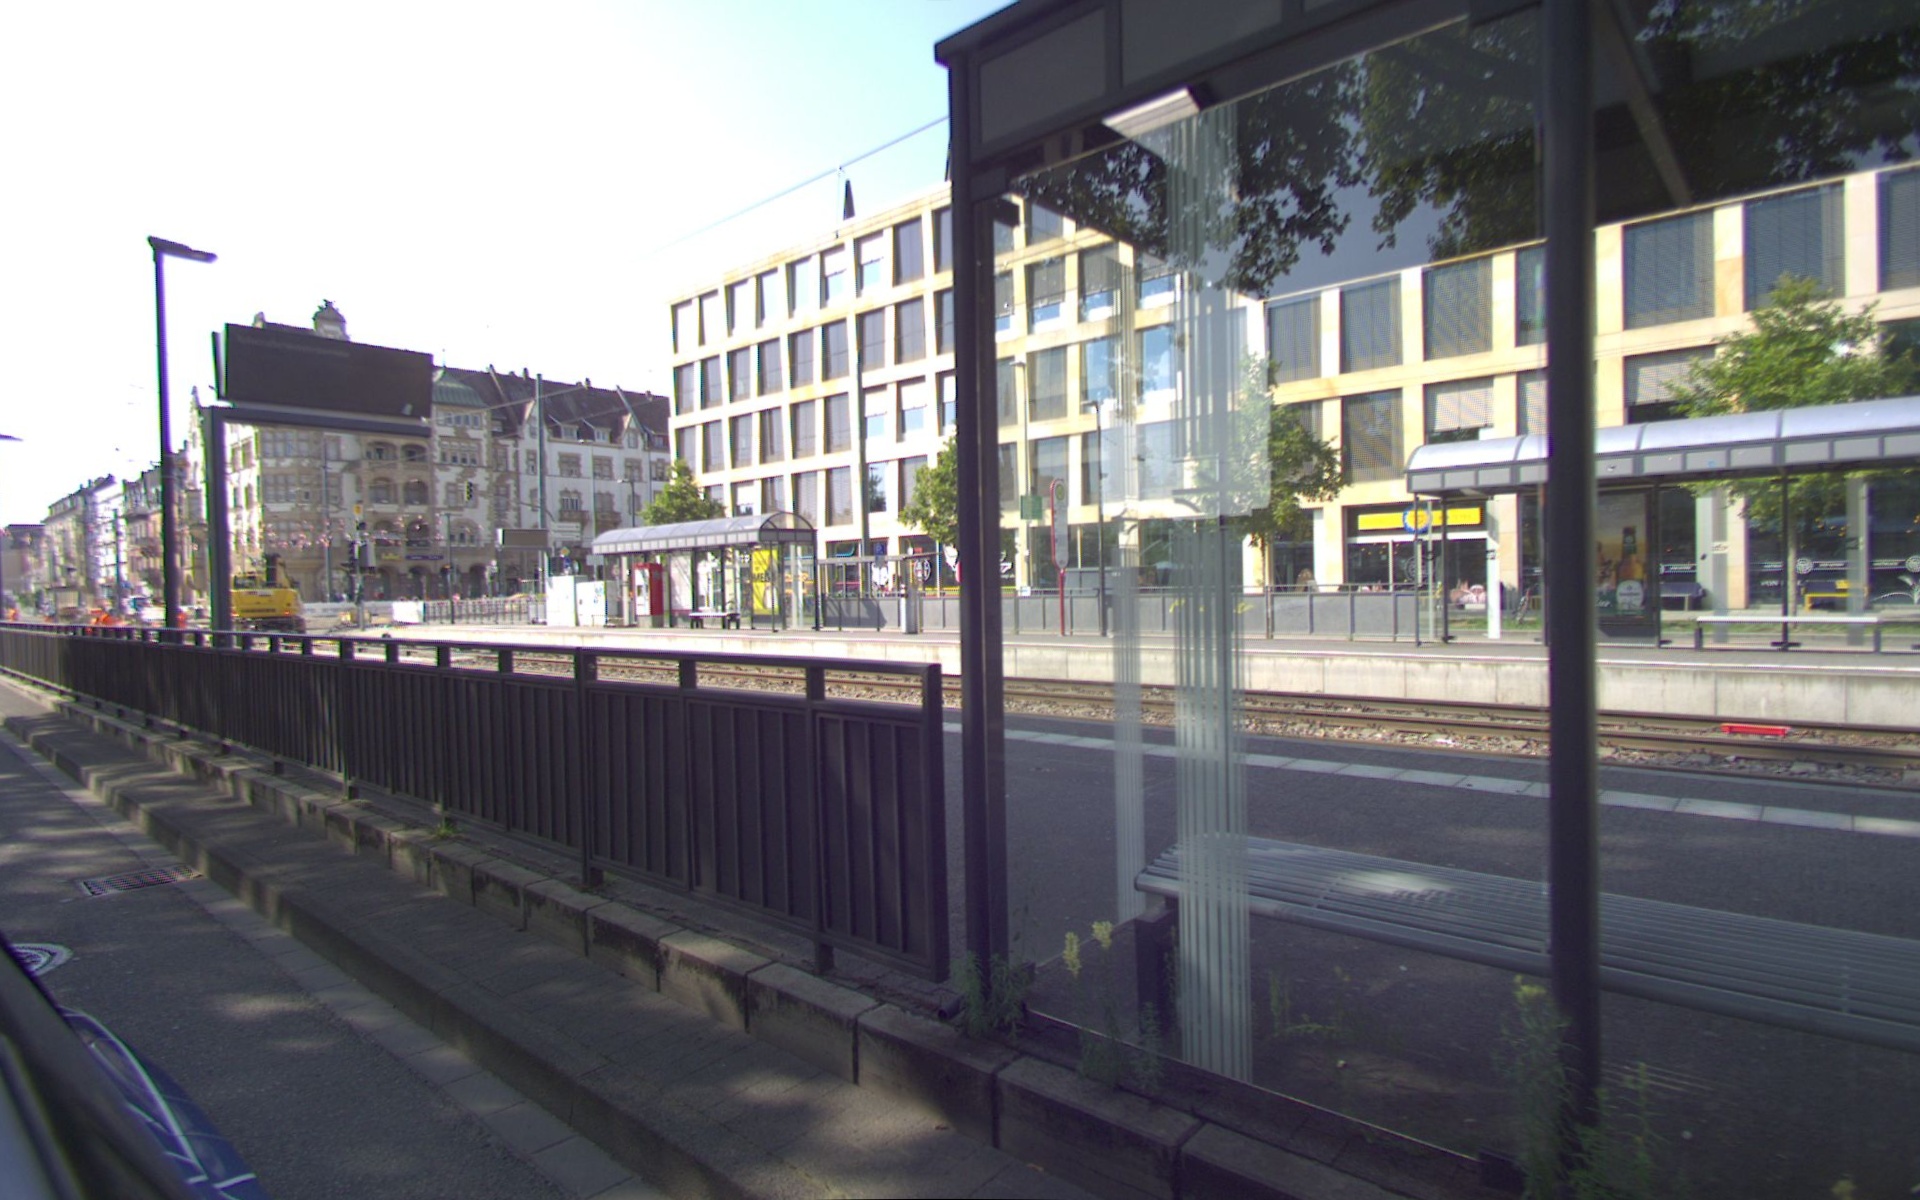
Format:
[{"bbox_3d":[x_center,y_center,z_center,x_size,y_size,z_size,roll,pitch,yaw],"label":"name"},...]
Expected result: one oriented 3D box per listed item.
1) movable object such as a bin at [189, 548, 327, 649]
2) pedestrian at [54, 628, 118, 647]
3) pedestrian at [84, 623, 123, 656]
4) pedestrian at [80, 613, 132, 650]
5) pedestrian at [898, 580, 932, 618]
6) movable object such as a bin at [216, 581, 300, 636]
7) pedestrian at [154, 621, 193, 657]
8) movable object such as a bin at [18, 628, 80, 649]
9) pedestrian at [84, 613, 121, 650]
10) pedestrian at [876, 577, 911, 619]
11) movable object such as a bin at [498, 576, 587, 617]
[{"bbox_3d":[-31.227,-0.051,45.503,3.454,4.043,9.071,-2,0,-25],"label":"movable object such as a bin"},{"bbox_3d":[-34.980,1.506,40.512,0.913,0.641,1.880,-1,1,45],"label":"pedestrian"},{"bbox_3d":[-33.231,1.518,39.278,0.968,1.199,0.801,-2,0,-24],"label":"pedestrian"},{"bbox_3d":[-32.272,1.175,38.275,1.293,1.316,0.801,-2,0,-24],"label":"pedestrian"},{"bbox_3d":[-1.973,-0.049,44.286,1.123,1.609,0.966,-1,1,41],"label":"pedestrian"},{"bbox_3d":[-45.910,0.574,66.088,8.347,3.355,2.815,-1,0,43],"label":"movable object such as a bin"},{"bbox_3d":[-29.883,1.475,38.451,0.983,1.316,1.003,-2,0,45],"label":"pedestrian"},{"bbox_3d":[-32.325,1.361,35.938,1.484,0.657,0.704,-2,0,-27],"label":"movable object such as a bin"},{"bbox_3d":[-31.772,1.157,37.492,0.825,1.316,0.801,-2,0,-24],"label":"pedestrian"},{"bbox_3d":[-2.851,-0.078,43.618,1.123,1.765,0.966,-1,0,41],"label":"pedestrian"},{"bbox_3d":[-29.973,-0.260,72.823,2.134,2.760,5.555,-1,1,41],"label":"movable object such as a bin"}]
